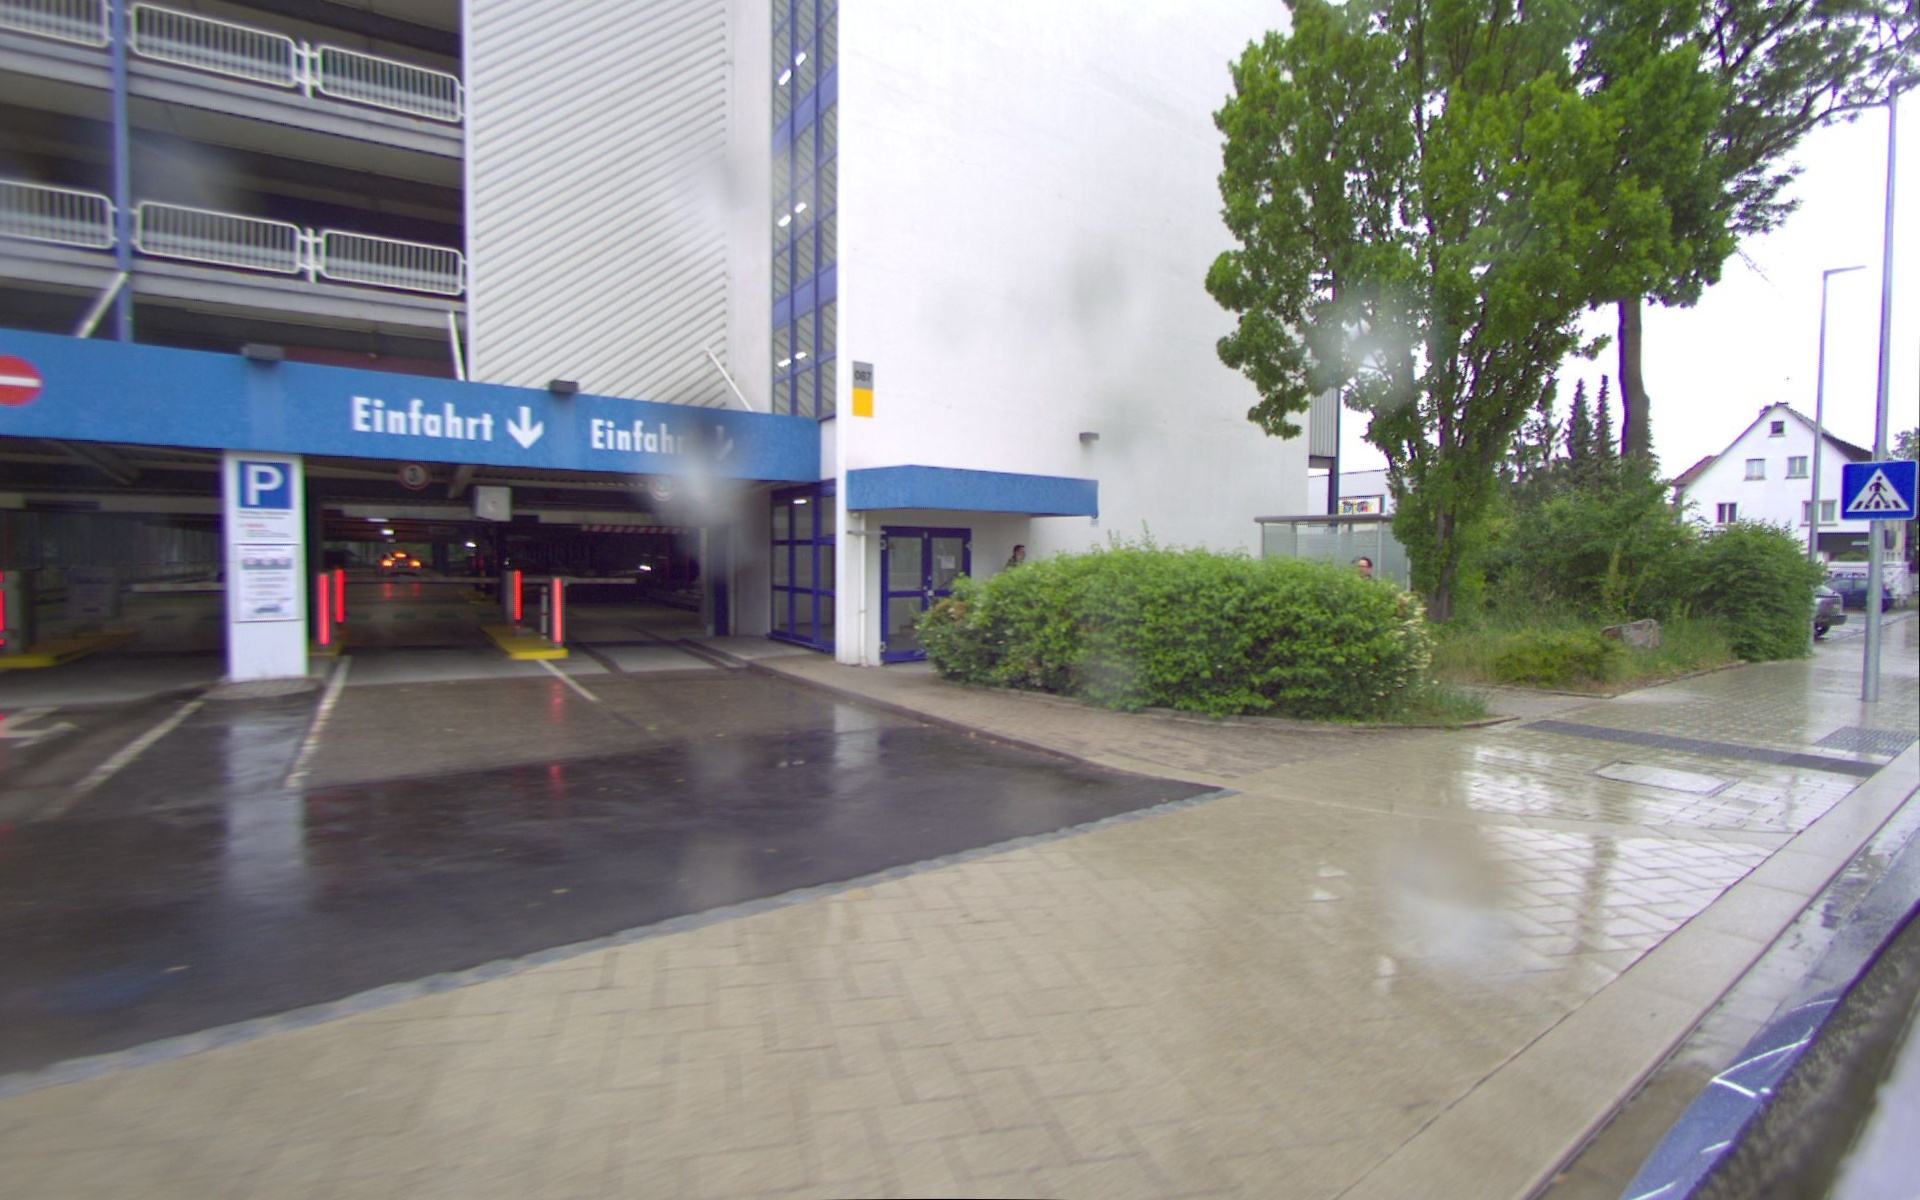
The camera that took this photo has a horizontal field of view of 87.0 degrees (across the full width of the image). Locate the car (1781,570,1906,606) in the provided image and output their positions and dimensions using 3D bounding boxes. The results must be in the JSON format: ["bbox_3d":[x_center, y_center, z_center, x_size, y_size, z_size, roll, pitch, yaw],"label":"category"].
[{"bbox_3d":[38.656,-0.568,44.349,1.838,1.471,3.990,-1,2,-44],"label":"car"}]

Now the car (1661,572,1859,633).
[{"bbox_3d":[21.455,0.001,27.240,1.838,1.471,3.990,-1,2,-44],"label":"car"}]
